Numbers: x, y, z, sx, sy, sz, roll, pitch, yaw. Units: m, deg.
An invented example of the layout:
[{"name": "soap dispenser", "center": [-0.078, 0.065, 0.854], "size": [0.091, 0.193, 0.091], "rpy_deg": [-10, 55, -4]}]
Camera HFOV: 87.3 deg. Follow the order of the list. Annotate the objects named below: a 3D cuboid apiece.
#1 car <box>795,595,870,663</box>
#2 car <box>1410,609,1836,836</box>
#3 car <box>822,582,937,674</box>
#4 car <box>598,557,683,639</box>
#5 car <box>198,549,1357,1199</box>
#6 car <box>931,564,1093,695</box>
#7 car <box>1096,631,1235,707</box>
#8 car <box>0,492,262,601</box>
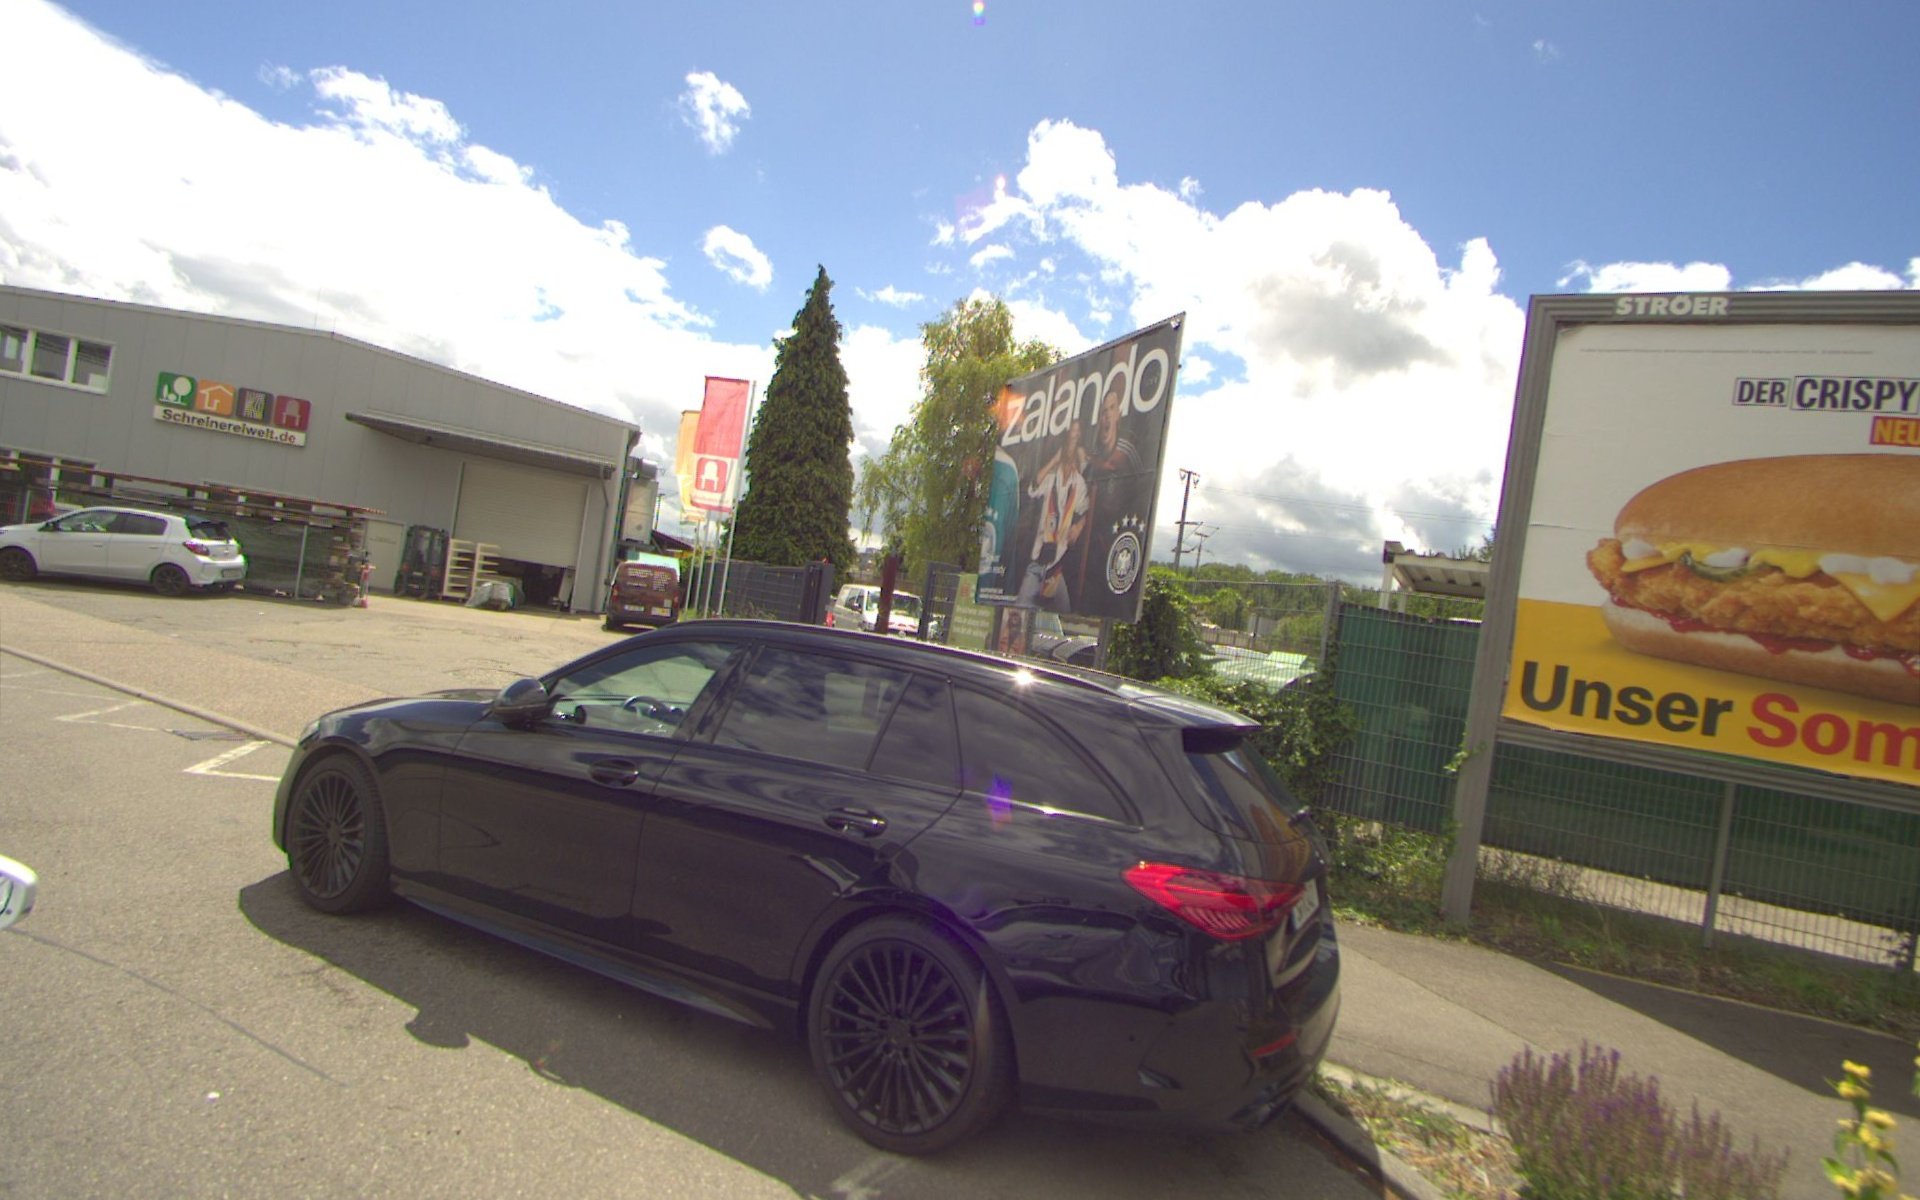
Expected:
[{"name": "car", "center": [-4.162, 0.882, 32.380], "size": [1.566, 1.808, 3.816], "rpy_deg": [7, 0, -18]}, {"name": "car", "center": [10.635, 1.878, 16.739], "size": [5.362, 2.800, 2.282], "rpy_deg": [5, -2, 29]}, {"name": "car", "center": [-2.293, 0.660, 27.182], "size": [1.808, 2.006, 5.078], "rpy_deg": [7, 0, -18]}, {"name": "car", "center": [-8.796, -0.105, 27.503], "size": [1.793, 1.894, 4.022], "rpy_deg": [7, 0, -21]}, {"name": "car", "center": [-0.953, 0.836, 4.289], "size": [4.627, 1.483, 1.796], "rpy_deg": [7, -2, 28]}, {"name": "car", "center": [1.175, 0.638, 26.691], "size": [2.036, 2.879, 5.952], "rpy_deg": [7, 0, -17]}, {"name": "car", "center": [6.630, 2.233, 32.483], "size": [3.951, 1.787, 1.755], "rpy_deg": [10, -2, -23]}, {"name": "car", "center": [-15.421, -0.980, 18.319], "size": [4.005, 1.482, 1.721], "rpy_deg": [7, 2, -9]}]
